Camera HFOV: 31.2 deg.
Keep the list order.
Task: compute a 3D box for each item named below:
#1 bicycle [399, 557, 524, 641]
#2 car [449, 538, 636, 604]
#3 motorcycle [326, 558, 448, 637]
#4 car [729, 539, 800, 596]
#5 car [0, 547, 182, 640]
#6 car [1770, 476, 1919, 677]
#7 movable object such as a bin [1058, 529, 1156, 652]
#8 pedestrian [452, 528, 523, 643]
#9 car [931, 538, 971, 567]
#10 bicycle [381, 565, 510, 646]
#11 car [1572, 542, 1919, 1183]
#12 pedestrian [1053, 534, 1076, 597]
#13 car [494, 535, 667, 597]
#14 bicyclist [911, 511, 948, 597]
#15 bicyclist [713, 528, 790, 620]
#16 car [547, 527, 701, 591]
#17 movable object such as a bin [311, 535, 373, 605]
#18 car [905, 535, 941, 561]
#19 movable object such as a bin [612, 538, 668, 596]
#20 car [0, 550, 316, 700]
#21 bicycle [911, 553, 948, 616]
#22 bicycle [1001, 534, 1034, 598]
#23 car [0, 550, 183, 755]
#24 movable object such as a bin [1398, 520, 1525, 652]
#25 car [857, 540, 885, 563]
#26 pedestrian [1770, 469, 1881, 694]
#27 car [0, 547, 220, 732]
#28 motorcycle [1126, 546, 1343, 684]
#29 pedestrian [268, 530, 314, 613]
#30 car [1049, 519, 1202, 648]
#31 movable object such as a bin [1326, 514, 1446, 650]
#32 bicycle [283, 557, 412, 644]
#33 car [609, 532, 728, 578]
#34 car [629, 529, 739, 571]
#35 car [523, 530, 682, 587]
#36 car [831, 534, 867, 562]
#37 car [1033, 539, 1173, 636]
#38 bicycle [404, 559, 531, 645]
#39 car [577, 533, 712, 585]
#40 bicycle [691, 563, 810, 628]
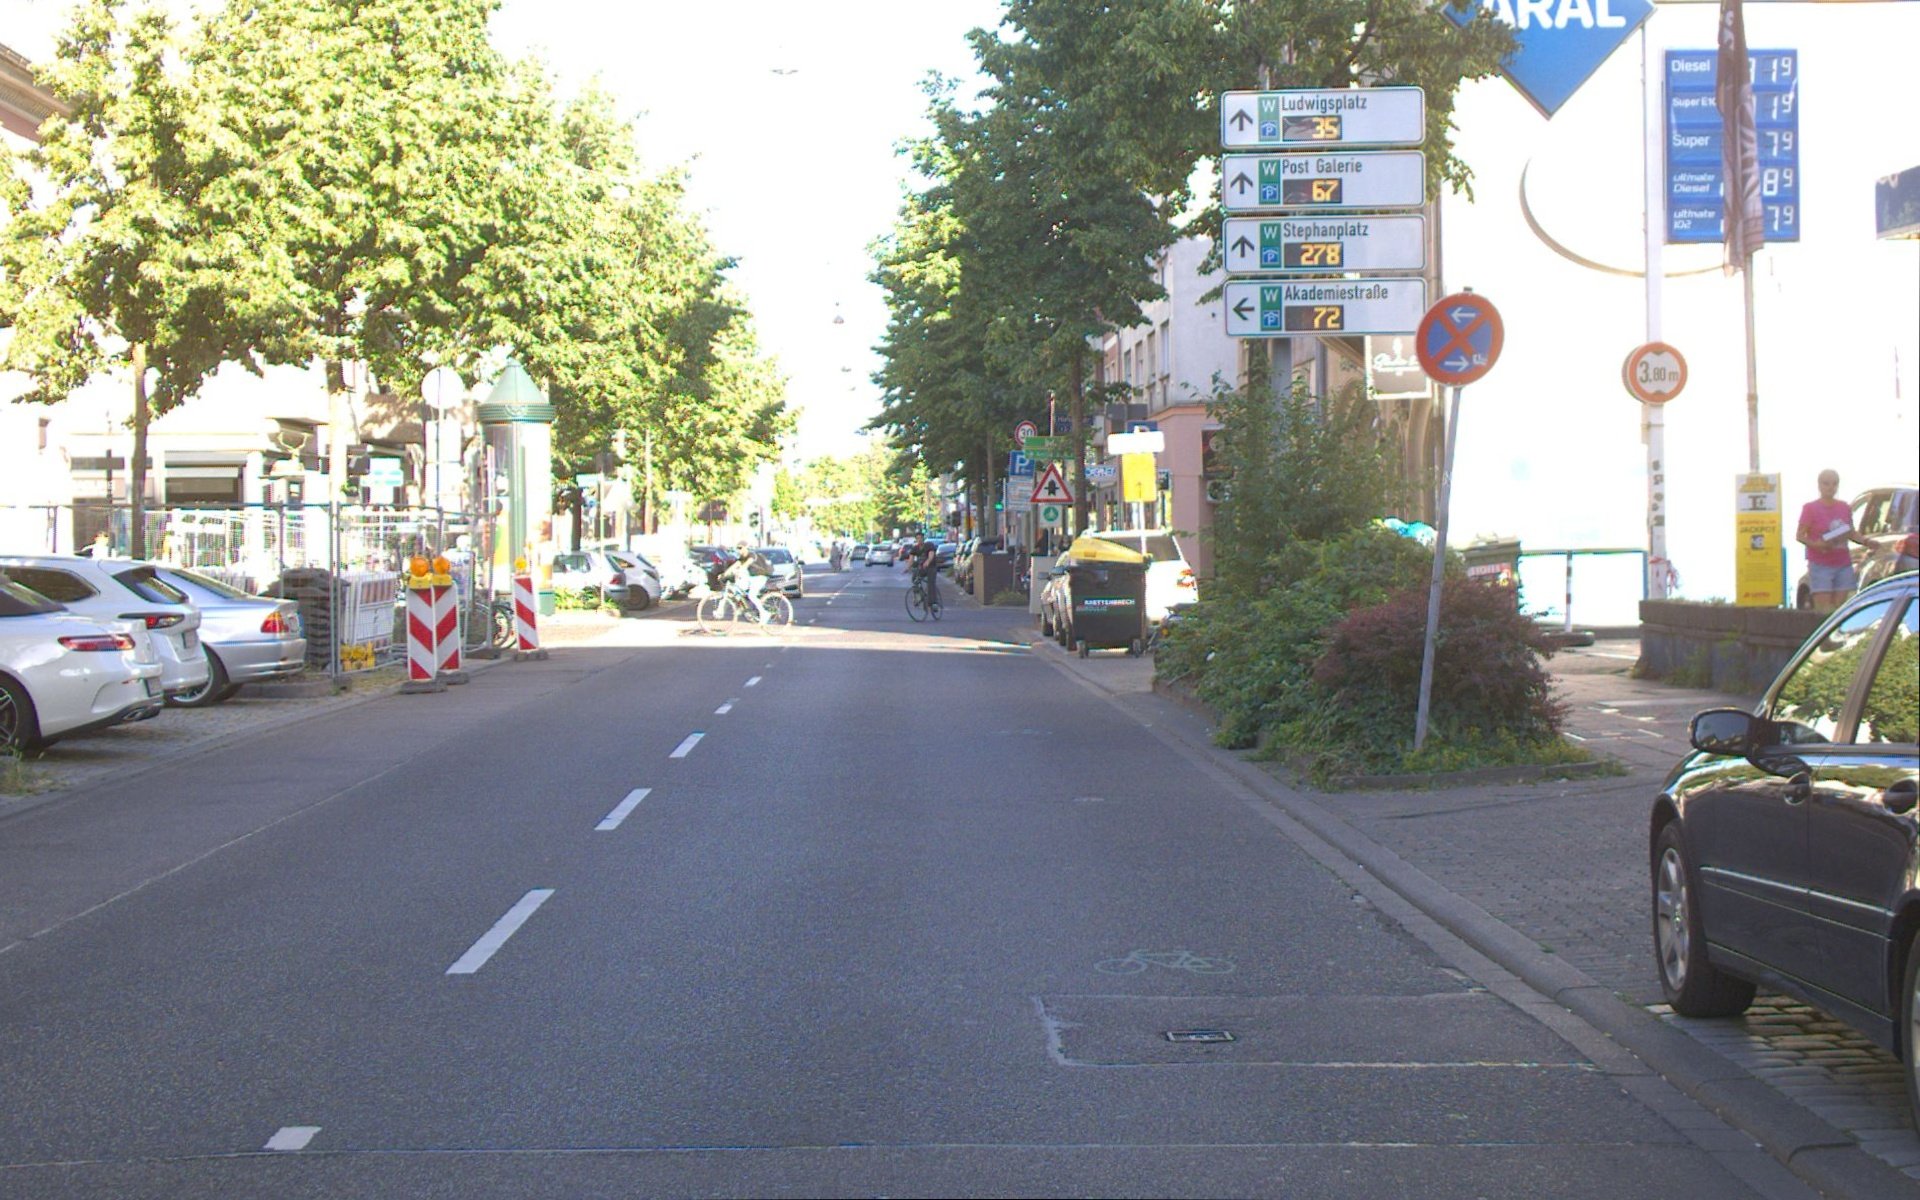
[{"bbox_3d":[-7.542,-0.014,52.013,1.854,1.248,0.600,0,1,-8],"label":"bicycle"},{"bbox_3d":[-9.340,-0.655,77.125,3.986,1.385,2.000,-1,1,-2],"label":"car"},{"bbox_3d":[-9.013,-0.041,54.031,1.852,1.225,0.757,0,1,-12],"label":"motorcycle"},{"bbox_3d":[-5.409,-0.922,95.318,1.802,1.430,4.410,-3,1,-2],"label":"car"},{"bbox_3d":[-16.687,-0.122,63.996,3.986,1.605,2.001,-2,1,-22],"label":"car"},{"bbox_3d":[8.602,-0.255,30.292,1.901,1.642,4.293,-1,1,0],"label":"car"},{"bbox_3d":[1.933,-0.133,45.016,1.143,1.556,1.459,-1,1,7],"label":"movable object such as a bin"},{"bbox_3d":[-7.108,-0.223,51.677,0.792,1.701,0.767,0,1,-34],"label":"pedestrian"},{"bbox_3d":[-0.479,-2.506,182.196,1.993,1.503,4.000,0,0,-2],"label":"car"},{"bbox_3d":[-7.526,0.074,50.327,1.854,1.166,0.600,0,1,-8],"label":"bicycle"},{"bbox_3d":[3.084,0.564,9.231,1.901,1.407,4.647,-2,1,-1],"label":"car"},{"bbox_3d":[2.776,-0.924,91.454,0.547,1.644,0.664,-1,1,0],"label":"pedestrian"},{"bbox_3d":[-9.128,-0.832,82.914,3.986,1.385,2.000,-1,1,-2],"label":"car"},{"bbox_3d":[-0.611,-0.922,68.422,0.719,1.687,1.157,-1,1,-1],"label":"bicyclist"},{"bbox_3d":[-3.579,-0.452,59.063,1.038,1.555,0.769,-2,1,-40],"label":"bicyclist"},{"bbox_3d":[-9.352,-1.149,95.823,3.987,1.688,2.000,-1,1,4],"label":"car"},{"bbox_3d":[-13.413,-0.660,74.644,1.140,1.480,1.236,-1,1,-3],"label":"movable object such as a bin"},{"bbox_3d":[-2.184,-3.048,201.862,1.993,1.503,4.000,0,0,-2],"label":"car"},{"bbox_3d":[-8.332,-0.857,89.603,1.334,1.473,1.480,-1,1,-1],"label":"movable object such as a bin"},{"bbox_3d":[-8.724,0.227,33.352,4.680,1.407,1.808,0,1,-4],"label":"car"},{"bbox_3d":[-0.609,-0.317,68.429,0.719,1.215,2.036,-1,1,-1],"label":"bicycle"},{"bbox_3d":[1.348,-0.811,81.174,0.560,1.436,1.628,-7,1,-1],"label":"bicycle"},{"bbox_3d":[-8.255,0.366,25.390,4.680,1.460,1.808,0,1,-4],"label":"car"},{"bbox_3d":[5.988,-0.174,41.128,1.270,1.525,1.177,-1,1,-3],"label":"movable object such as a bin"},{"bbox_3d":[-5.713,-3.121,221.186,1.792,1.406,4.001,-1,1,-1],"label":"car"},{"bbox_3d":[7.247,-0.158,28.815,0.707,1.843,0.688,-1,1,-1],"label":"pedestrian"},{"bbox_3d":[-8.523,0.299,27.948,4.680,1.460,1.808,0,1,-4],"label":"car"},{"bbox_3d":[2.761,0.139,34.692,1.977,1.325,0.912,-1,1,-13],"label":"motorcycle"},{"bbox_3d":[-13.422,-0.581,68.986,0.771,1.637,0.690,-1,1,1],"label":"pedestrian"},{"bbox_3d":[2.324,-0.266,49.337,1.822,1.673,4.601,-3,1,-1],"label":"car"},{"bbox_3d":[5.253,-0.238,42.486,1.205,1.622,1.498,-1,1,-3],"label":"movable object such as a bin"},{"bbox_3d":[-9.050,-0.001,50.803,1.788,1.248,0.600,1,1,10],"label":"bicycle"},{"bbox_3d":[-10.044,-1.546,118.583,3.986,1.494,2.000,-1,1,-2],"label":"car"},{"bbox_3d":[-10.365,-1.882,129.347,3.986,1.494,2.000,-1,1,-2],"label":"car"},{"bbox_3d":[-9.650,-1.135,93.019,3.987,1.452,1.868,-1,1,4],"label":"car"},{"bbox_3d":[-5.882,-2.769,181.857,1.822,1.386,4.301,-3,1,-2],"label":"car"},{"bbox_3d":[2.231,-0.228,54.658,1.822,1.386,4.301,-3,1,-2],"label":"car"},{"bbox_3d":[-7.309,0.029,51.002,1.854,1.248,0.600,0,1,-8],"label":"bicycle"},{"bbox_3d":[-9.581,-1.264,104.638,3.986,1.494,2.000,-1,1,-2],"label":"car"},{"bbox_3d":[-3.594,-0.086,59.071,1.950,1.055,0.769,-2,1,-40],"label":"bicycle"}]
